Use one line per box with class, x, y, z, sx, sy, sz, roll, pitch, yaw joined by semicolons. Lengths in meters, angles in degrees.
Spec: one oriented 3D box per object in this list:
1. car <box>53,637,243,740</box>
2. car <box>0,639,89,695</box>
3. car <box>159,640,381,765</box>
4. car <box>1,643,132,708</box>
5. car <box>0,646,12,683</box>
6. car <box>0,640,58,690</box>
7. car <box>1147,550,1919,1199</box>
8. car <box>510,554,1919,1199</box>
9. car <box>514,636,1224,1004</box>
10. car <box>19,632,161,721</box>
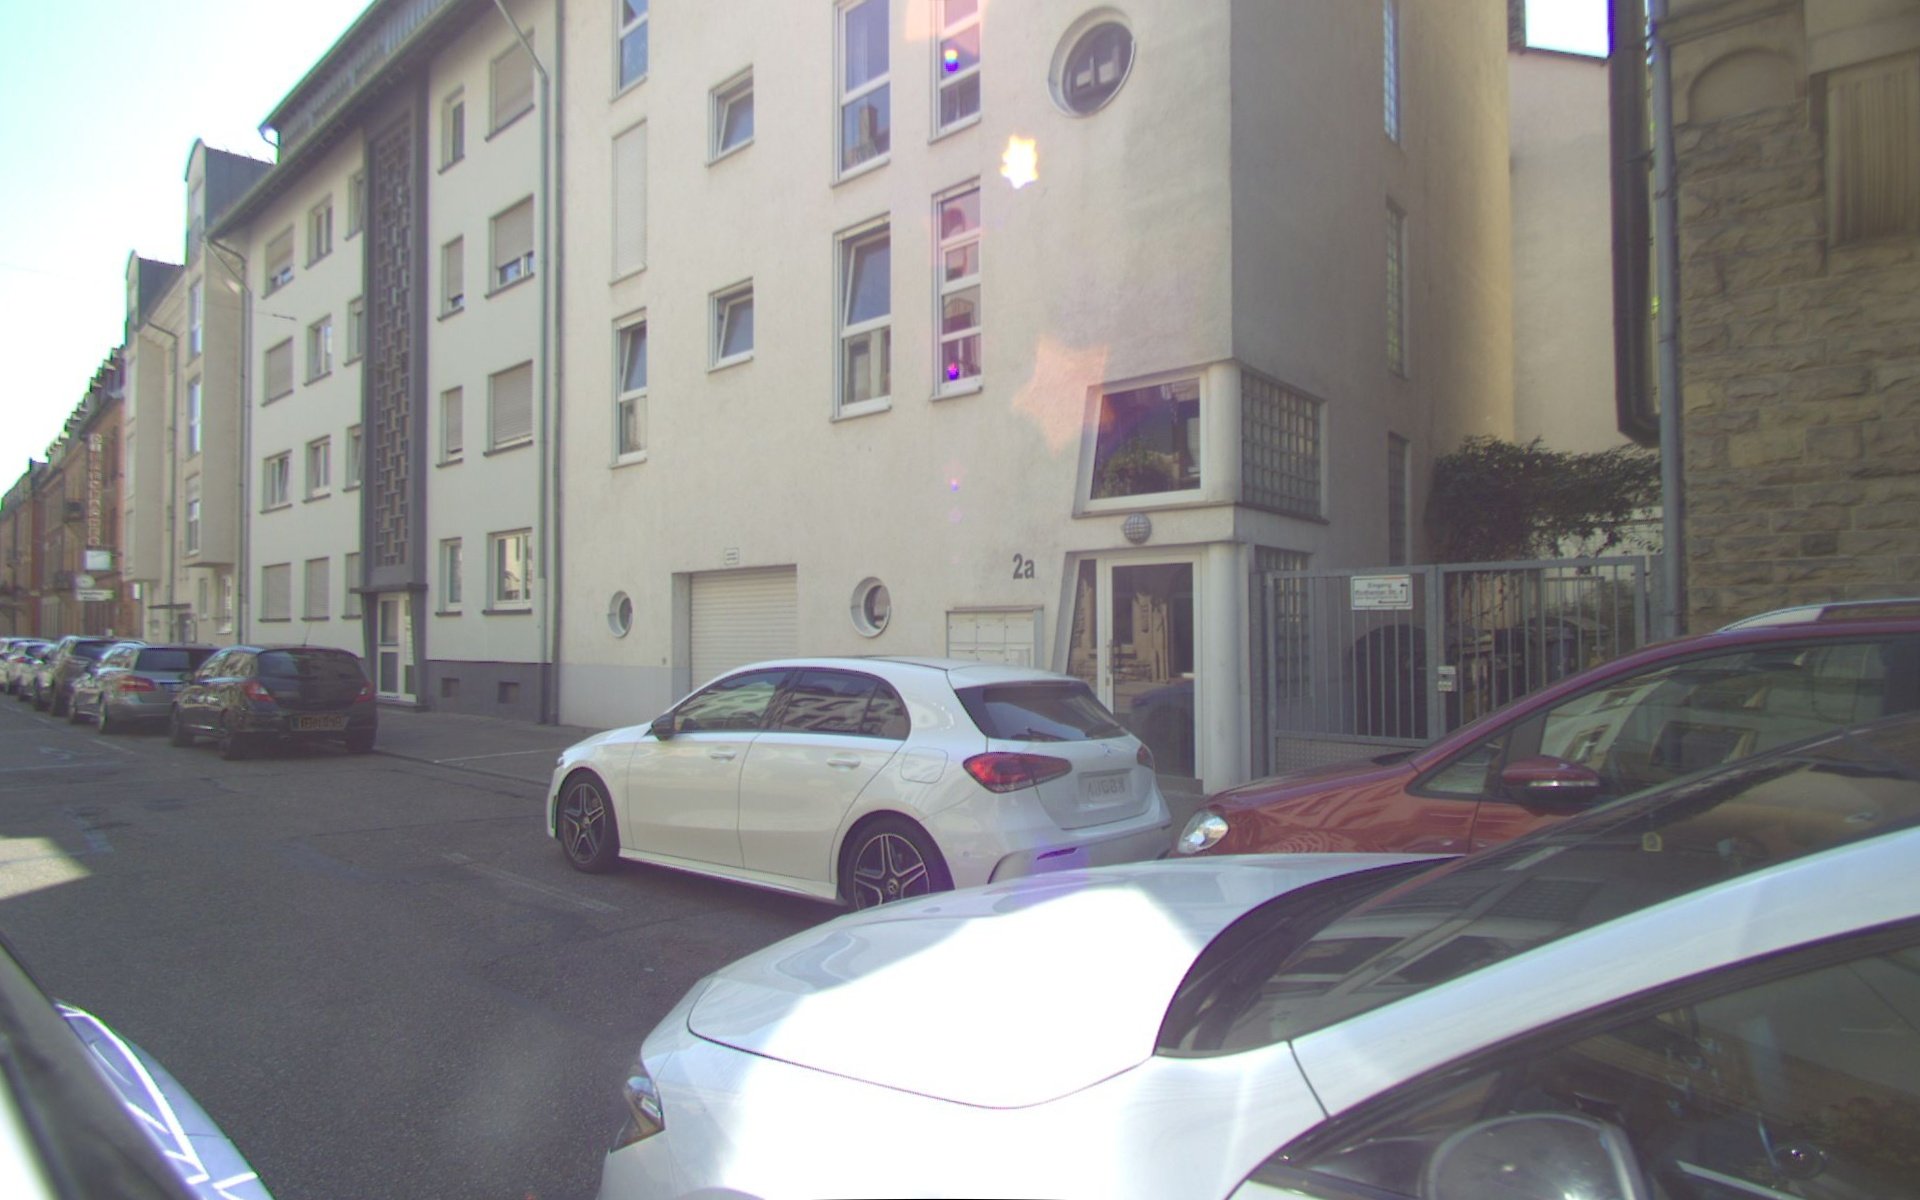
car;-14.000;1.434;17.351;4.668;1.530;1.639;-2;-4;41
car;-26.835;1.909;29.302;4.346;1.506;1.712;-2;-5;41
car;-9.737;1.342;14.172;3.891;1.503;1.551;-2;-4;41
car;-21.859;1.799;24.700;4.346;1.404;1.747;-2;-4;41
car;-39.981;2.546;41.114;3.836;1.440;1.758;-2;-7;43
car;-31.975;2.169;34.077;3.848;1.561;1.613;-1;-6;38
car;2.793;0.725;3.176;4.048;1.595;1.656;-1;-4;39
car;1.516;0.752;0.915;4.359;1.472;1.822;-2;-4;41
car;-0.770;0.990;6.163;4.274;1.471;1.759;-1;-4;39
car;-18.103;1.532;21.006;3.974;1.657;1.587;-2;-4;41
